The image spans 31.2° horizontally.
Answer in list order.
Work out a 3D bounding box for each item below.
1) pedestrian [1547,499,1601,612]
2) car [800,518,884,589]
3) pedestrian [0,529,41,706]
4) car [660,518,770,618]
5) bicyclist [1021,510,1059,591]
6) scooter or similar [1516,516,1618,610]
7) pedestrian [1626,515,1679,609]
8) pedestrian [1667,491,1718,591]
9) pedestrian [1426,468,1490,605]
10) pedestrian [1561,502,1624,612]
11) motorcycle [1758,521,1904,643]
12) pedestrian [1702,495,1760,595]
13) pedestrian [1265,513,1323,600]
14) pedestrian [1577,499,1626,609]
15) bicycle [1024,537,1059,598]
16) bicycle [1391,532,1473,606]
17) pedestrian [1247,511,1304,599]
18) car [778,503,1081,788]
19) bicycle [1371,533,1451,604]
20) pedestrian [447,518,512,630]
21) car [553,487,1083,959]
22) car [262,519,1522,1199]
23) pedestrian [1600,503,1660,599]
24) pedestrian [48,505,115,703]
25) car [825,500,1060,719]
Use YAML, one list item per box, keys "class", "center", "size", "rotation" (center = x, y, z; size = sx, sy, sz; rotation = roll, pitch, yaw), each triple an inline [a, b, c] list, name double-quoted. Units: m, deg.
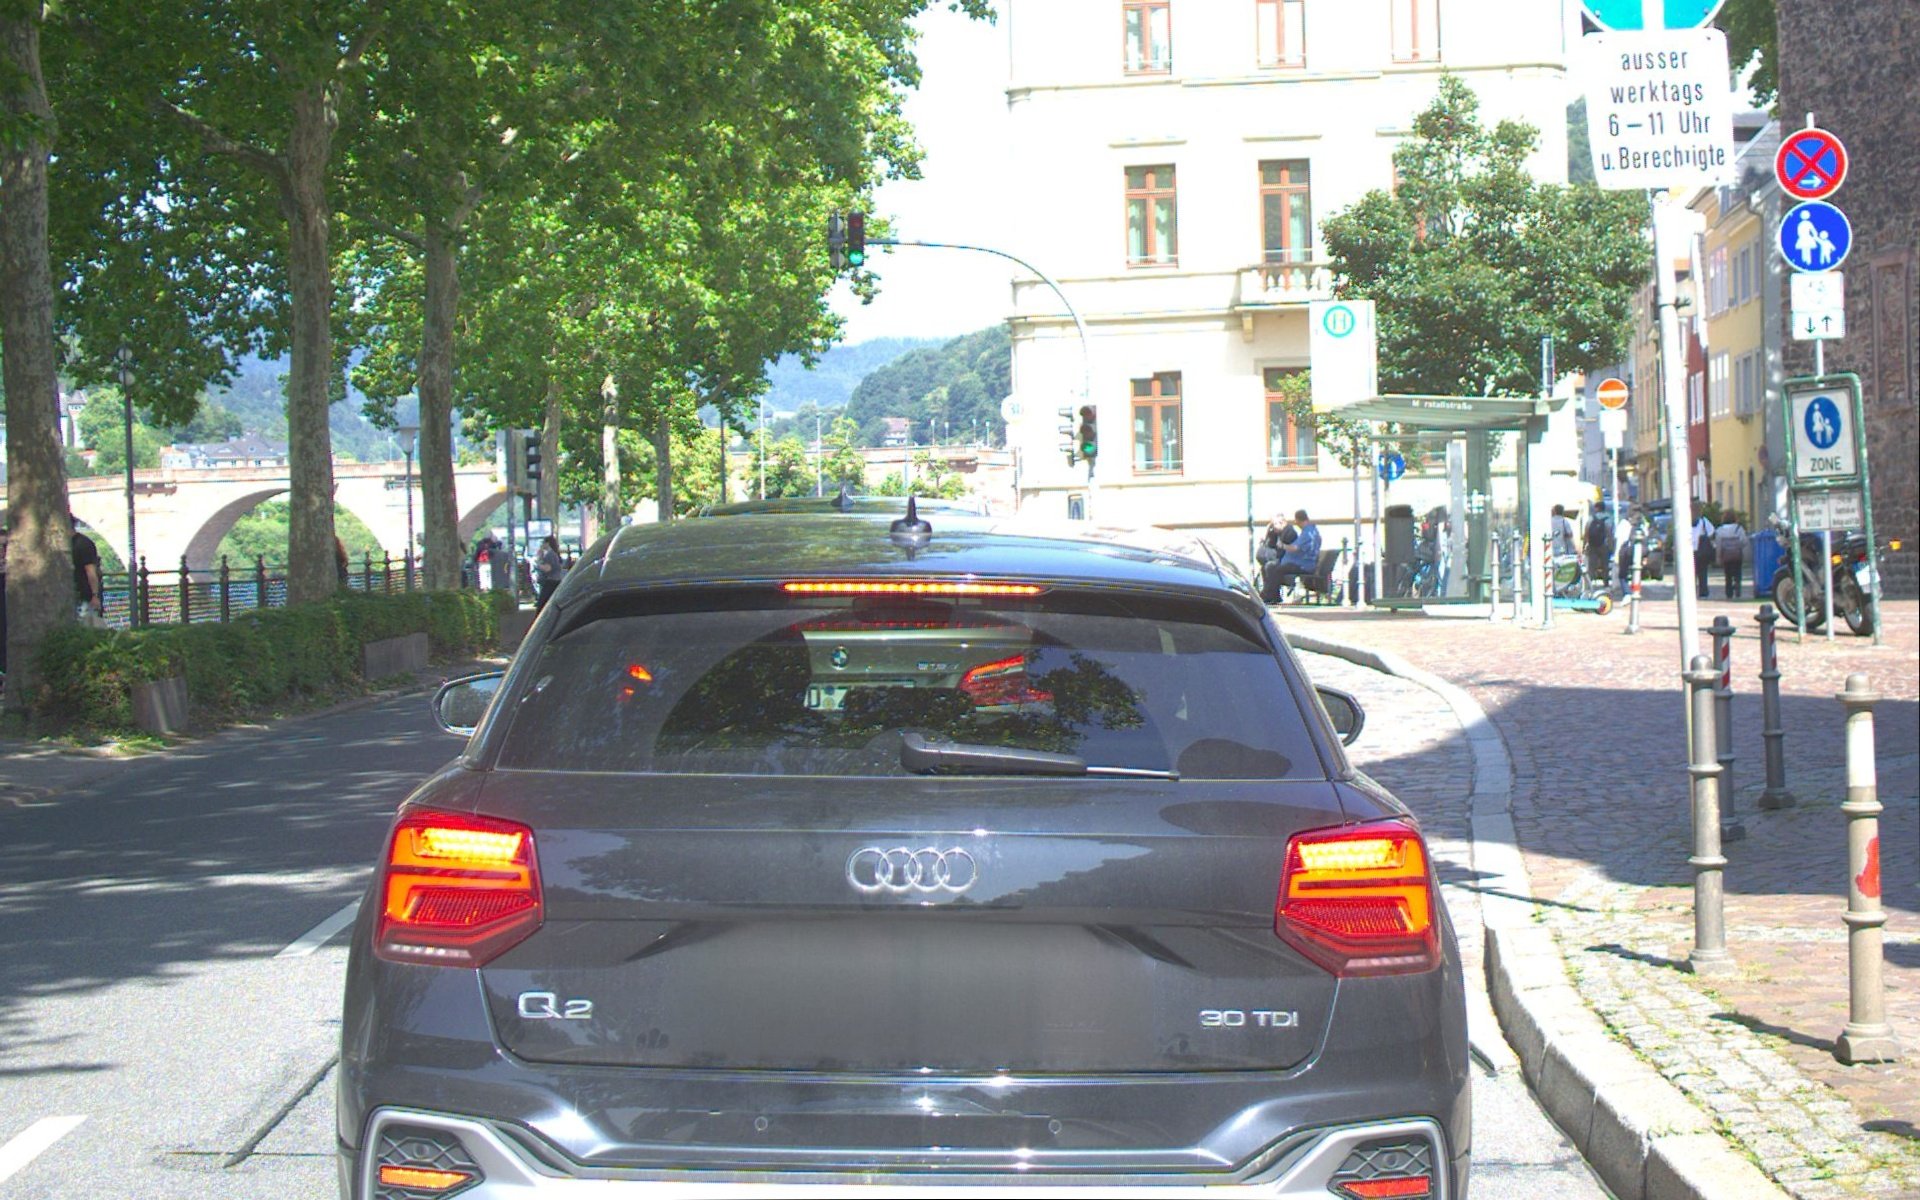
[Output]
- class: "pedestrian"
  center: [7.586, -0.554, 42.501]
  size: [0.557, 1.380, 0.588]
  rotation: [1, 0, 2]
- class: "car"
  center: [-3.072, -1.224, 90.496]
  size: [1.993, 1.800, 4.000]
  rotation: [1, 0, 1]
- class: "pedestrian"
  center: [-9.212, 0.165, 32.968]
  size: [0.601, 1.680, 0.583]
  rotation: [-1, 1, -2]
- class: "car"
  center: [-4.440, -0.607, 62.780]
  size: [1.673, 1.654, 4.223]
  rotation: [-4, 1, -1]
- class: "bicyclist"
  center: [1.456, -0.898, 62.472]
  size: [0.605, 1.445, 0.591]
  rotation: [1, 0, -5]
- class: "scooter or similar"
  center: [6.957, -0.425, 39.411]
  size: [1.088, 1.062, 0.323]
  rotation: [1, 0, -2]
- class: "pedestrian"
  center: [14.950, -0.827, 74.257]
  size: [0.944, 2.007, 0.807]
  rotation: [1, 0, 0]
- class: "pedestrian"
  center: [12.124, -0.966, 56.913]
  size: [0.607, 1.613, 0.710]
  rotation: [-3, 0, -1]
- class: "pedestrian"
  center: [6.116, -0.781, 42.265]
  size: [0.654, 1.656, 0.810]
  rotation: [-1, 1, 1]
- class: "pedestrian"
  center: [11.707, -0.800, 63.652]
  size: [0.940, 2.007, 0.807]
  rotation: [1, 0, -6]
- class: "motorcycle"
  center: [7.602, -0.181, 30.095]
  size: [0.566, 1.009, 2.490]
  rotation: [-1, 1, -2]
- class: "pedestrian"
  center: [12.746, -0.908, 56.872]
  size: [0.691, 1.607, 0.891]
  rotation: [-3, 1, -1]
- class: "pedestrian"
  center: [4.677, -0.607, 48.154]
  size: [0.663, 1.207, 0.641]
  rotation: [1, 0, -6]
- class: "pedestrian"
  center: [13.823, -0.994, 74.144]
  size: [0.879, 2.350, 0.745]
  rotation: [1, 0, -1]
- class: "bicycle"
  center: [1.474, -0.587, 62.441]
  size: [0.437, 1.082, 1.677]
  rotation: [1, 0, -5]
- class: "bicycle"
  center: [6.726, -0.436, 48.986]
  size: [1.201, 1.031, 0.179]
  rotation: [1, 0, -19]
- class: "pedestrian"
  center: [4.485, -0.641, 48.889]
  size: [0.663, 1.227, 0.641]
  rotation: [1, 0, -6]
- class: "car"
  center: [-0.192, 0.217, 21.270]
  size: [1.710, 1.603, 3.655]
  rotation: [0, 1, -1]
- class: "bicycle"
  center: [6.510, -0.451, 49.627]
  size: [1.184, 1.012, 0.179]
  rotation: [1, 0, -19]
- class: "pedestrian"
  center: [-7.826, -0.420, 56.003]
  size: [0.911, 1.805, 0.585]
  rotation: [1, -1, 4]
- class: "car"
  center: [-0.507, 0.386, 13.473]
  size: [1.793, 1.589, 3.399]
  rotation: [1, 1, -1]
- class: "car"
  center: [-0.120, 0.613, 6.626]
  size: [1.743, 1.504, 3.647]
  rotation: [1, 1, -1]
- class: "pedestrian"
  center: [10.279, -0.753, 52.753]
  size: [0.638, 1.439, 0.799]
  rotation: [-2, 1, -7]
- class: "pedestrian"
  center: [-8.433, 0.035, 33.015]
  size: [0.534, 1.880, 0.436]
  rotation: [0, 1, -1]
- class: "car"
  center: [-0.161, 0.030, 28.521]
  size: [1.794, 1.676, 4.000]
  rotation: [1, 1, -1]
